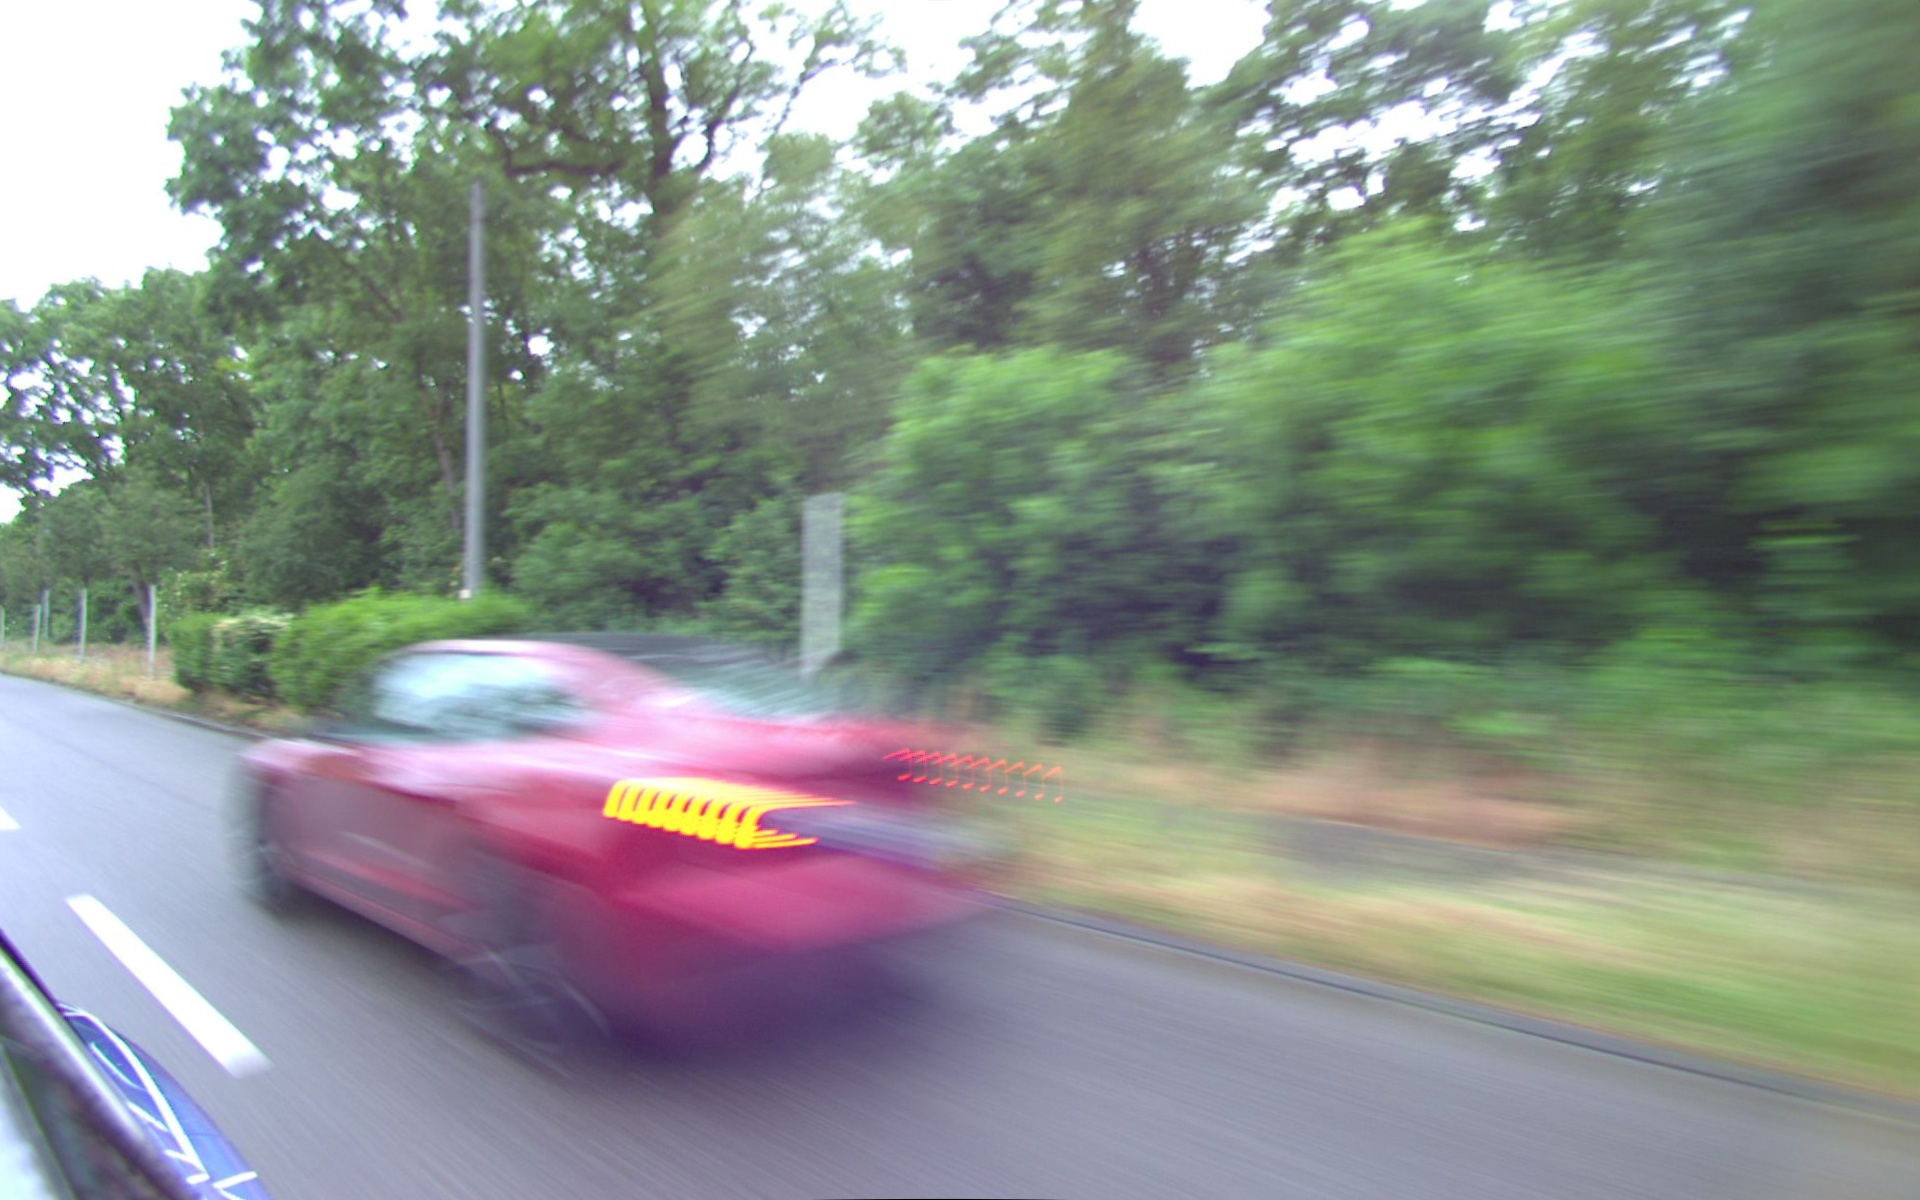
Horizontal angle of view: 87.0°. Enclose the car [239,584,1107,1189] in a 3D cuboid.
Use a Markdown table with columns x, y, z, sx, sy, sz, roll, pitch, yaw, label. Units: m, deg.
| x | y | z | sx | sy | sz | roll | pitch | yaw | label |
| --- | --- | --- | --- | --- | --- | --- | --- | --- | --- |
| -1.584 | 0.772 | 4.596 | 4.155 | 1.491 | 1.840 | -1 | -3 | 42 | car |
